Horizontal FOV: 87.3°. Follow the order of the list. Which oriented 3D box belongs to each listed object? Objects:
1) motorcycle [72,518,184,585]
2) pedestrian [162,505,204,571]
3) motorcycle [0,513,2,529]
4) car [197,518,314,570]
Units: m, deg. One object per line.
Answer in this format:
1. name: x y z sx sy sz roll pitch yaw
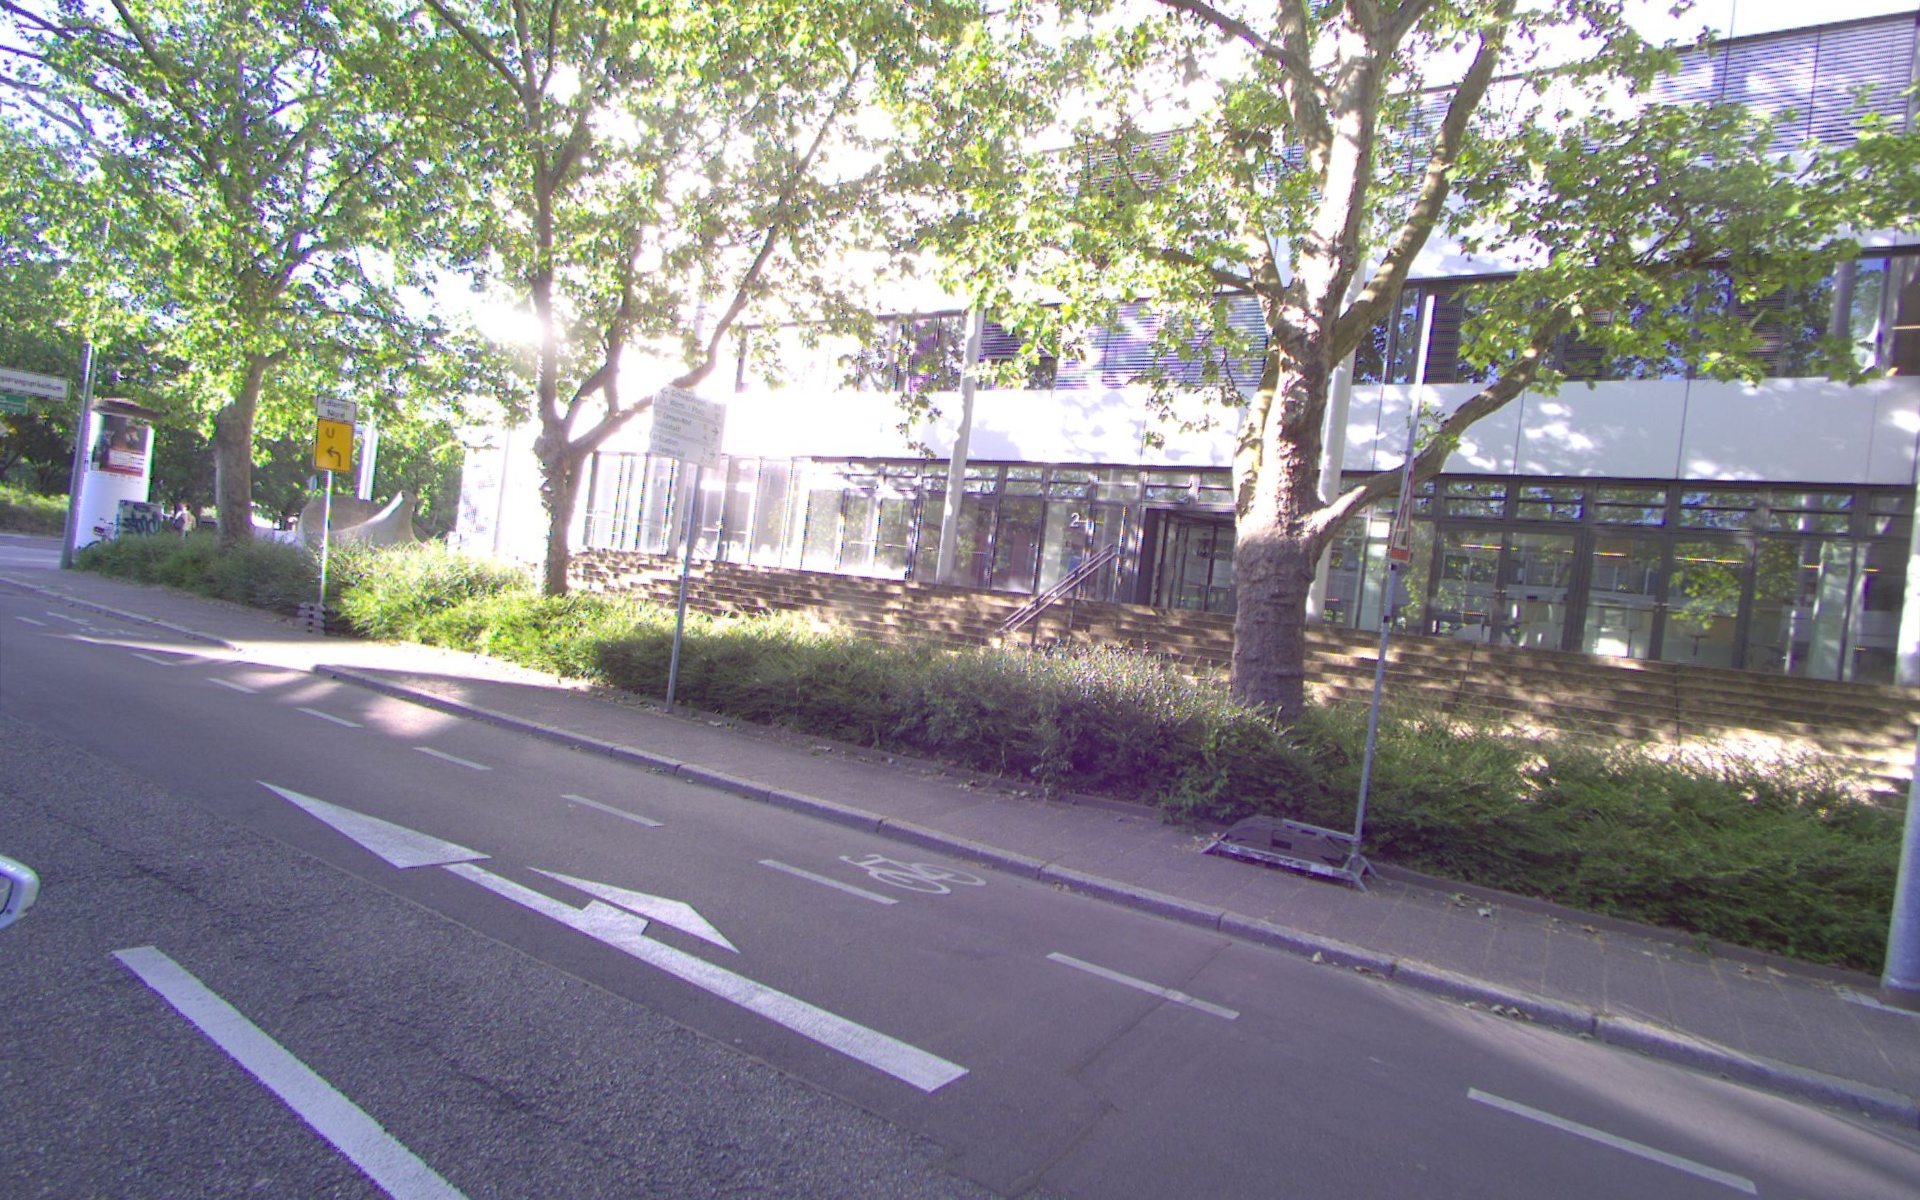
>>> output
1. motorcycle: -19.229 -1.098 23.285 0.712 1.257 1.782 6 -2 37
2. pedestrian: -23.301 -1.852 30.156 0.656 1.849 0.648 7 0 31
3. motorcycle: -29.285 -2.228 29.184 0.570 0.973 2.016 6 -2 30
4. car: -32.702 -2.573 46.827 1.708 1.792 3.995 7 -1 30
